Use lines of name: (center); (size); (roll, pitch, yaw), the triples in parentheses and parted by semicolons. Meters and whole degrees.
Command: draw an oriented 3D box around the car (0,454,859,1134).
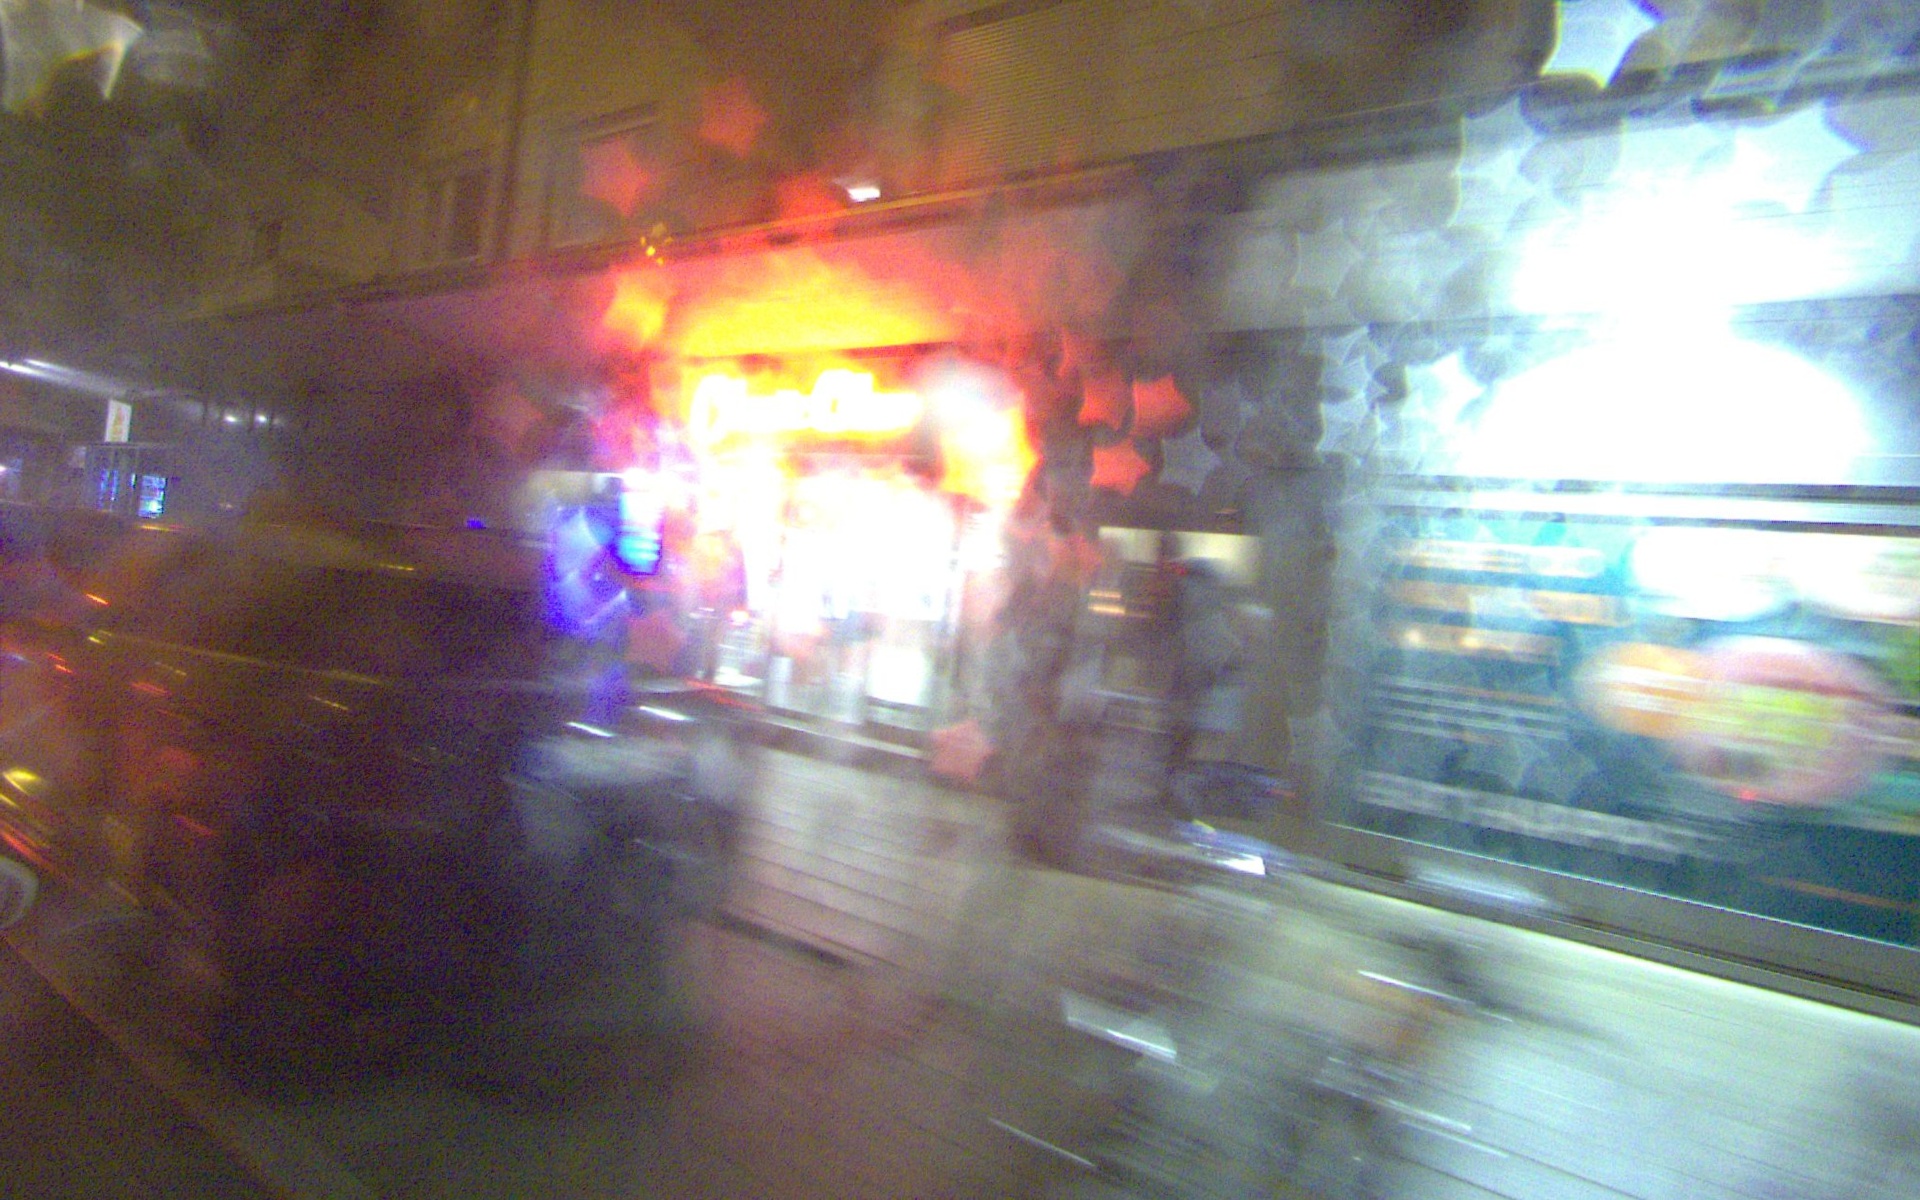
car: (-2.649, 0.385, 4.187); (4.087, 1.583, 1.756); (5, -3, 33)

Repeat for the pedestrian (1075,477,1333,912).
pedestrian: (1.446, 0.492, 5.875); (0.954, 2.236, 1.054); (6, 0, 34)

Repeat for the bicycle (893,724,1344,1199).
bicycle: (0.532, 0.987, 2.607); (0.428, 1.140, 1.762); (7, 2, 32)

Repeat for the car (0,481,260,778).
car: (-6.722, 0.023, 6.673); (4.327, 1.555, 1.756); (5, -3, 33)

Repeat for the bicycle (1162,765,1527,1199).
bicycle: (1.003, 1.017, 2.389); (0.428, 1.092, 1.765); (7, -1, 32)

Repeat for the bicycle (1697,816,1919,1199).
bicycle: (1.818, 1.107, 1.905); (0.428, 1.138, 1.785); (7, -1, 32)
